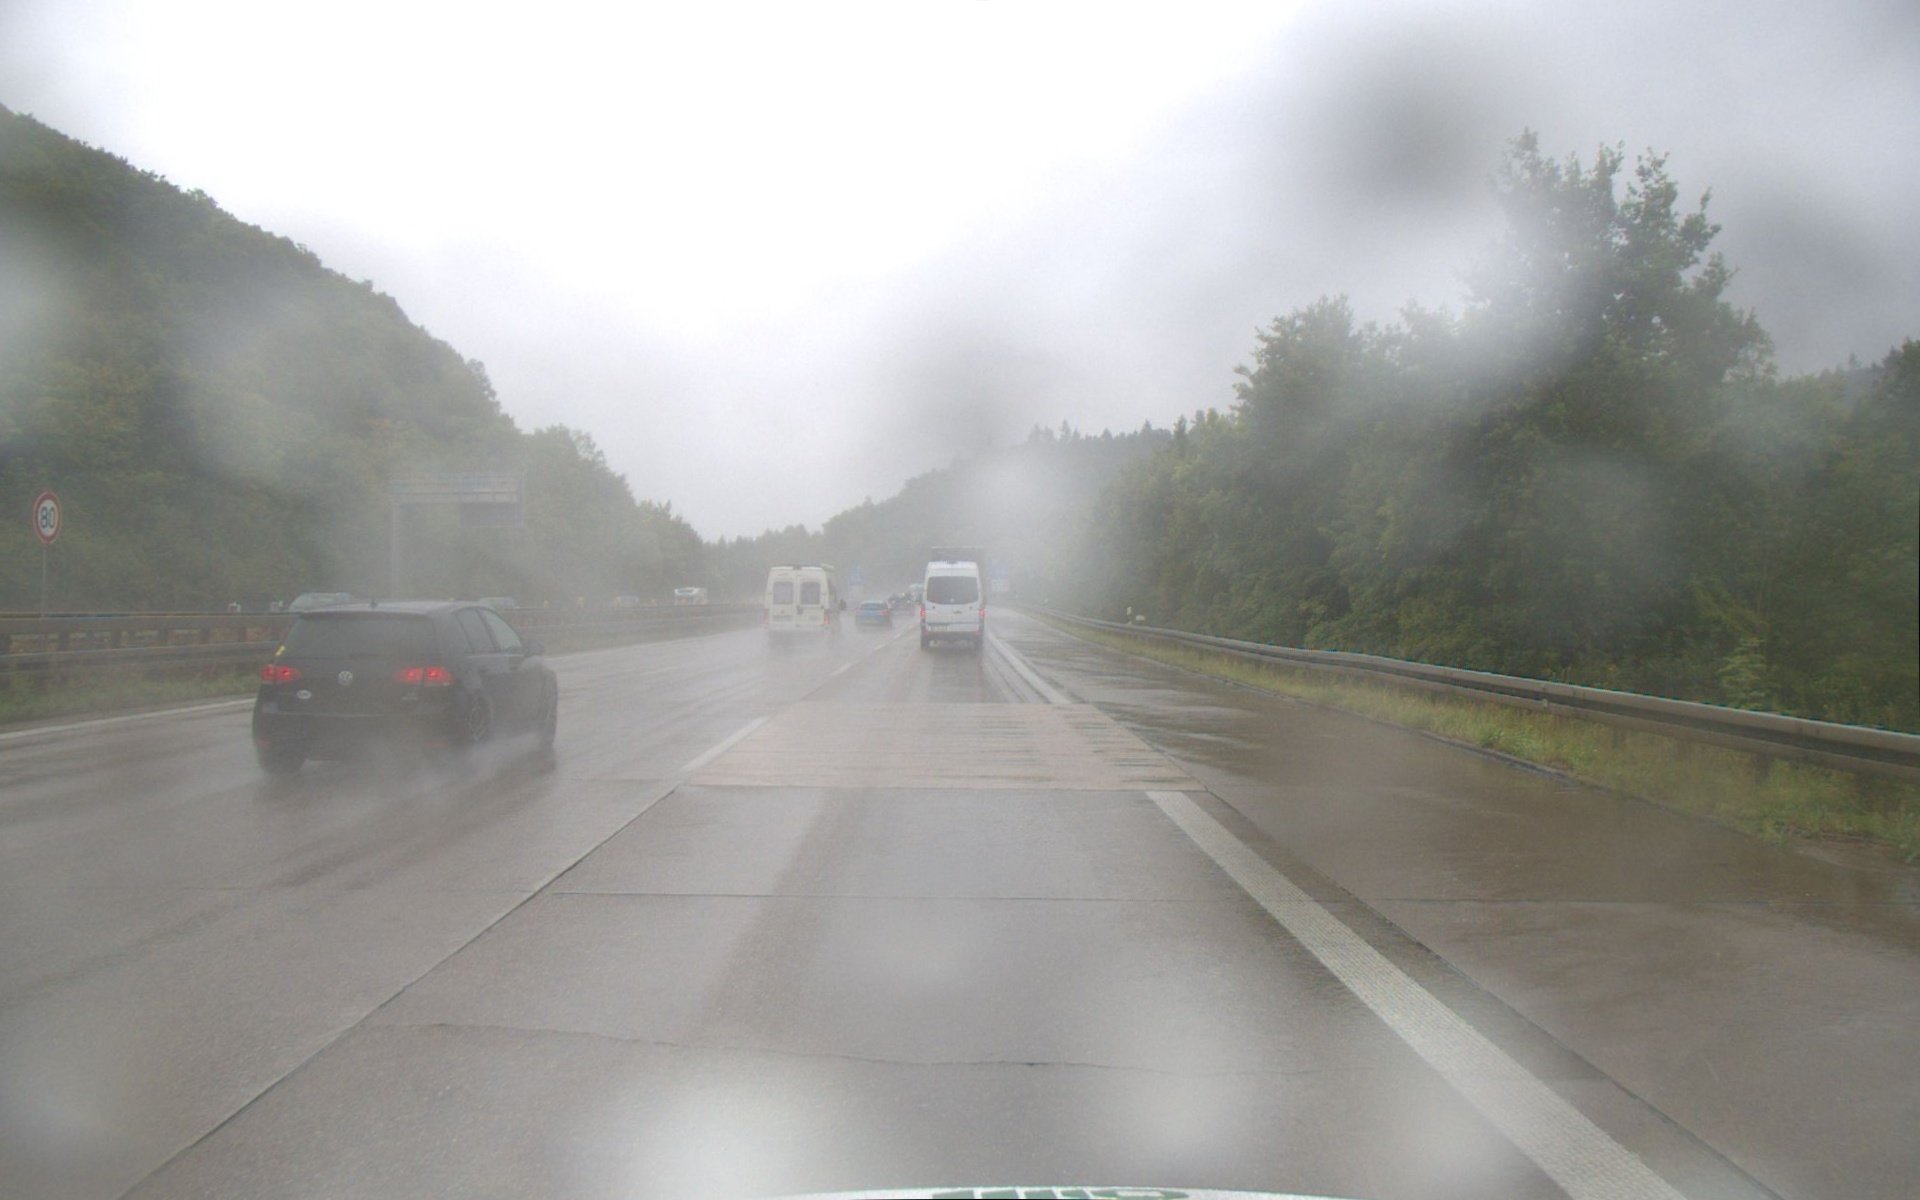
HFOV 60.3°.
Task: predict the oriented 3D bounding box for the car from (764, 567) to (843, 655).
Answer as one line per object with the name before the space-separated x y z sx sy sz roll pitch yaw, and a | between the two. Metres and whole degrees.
car | -4.694 0.322 50.239 1.957 2.474 5.788 1 0 -2

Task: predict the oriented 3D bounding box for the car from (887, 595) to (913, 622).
car | -4.325 0.620 119.462 1.831 1.841 4.187 1 0 -2

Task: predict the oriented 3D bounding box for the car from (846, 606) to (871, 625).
car | -7.675 1.169 125.421 1.819 1.362 4.348 1 0 -3

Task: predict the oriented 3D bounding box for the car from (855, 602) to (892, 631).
car | -4.359 0.811 82.865 1.819 1.362 4.348 1 0 -4

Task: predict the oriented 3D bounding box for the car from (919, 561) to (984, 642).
car | -0.307 0.045 51.987 1.861 2.374 5.249 1 0 -2

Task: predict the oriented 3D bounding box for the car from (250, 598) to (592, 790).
car | -4.521 0.717 14.567 1.706 1.412 4.319 -1 0 -2

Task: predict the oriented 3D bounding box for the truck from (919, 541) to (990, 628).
truck | -0.330 -0.870 81.817 3.316 4.037 8.666 0 2 -1
